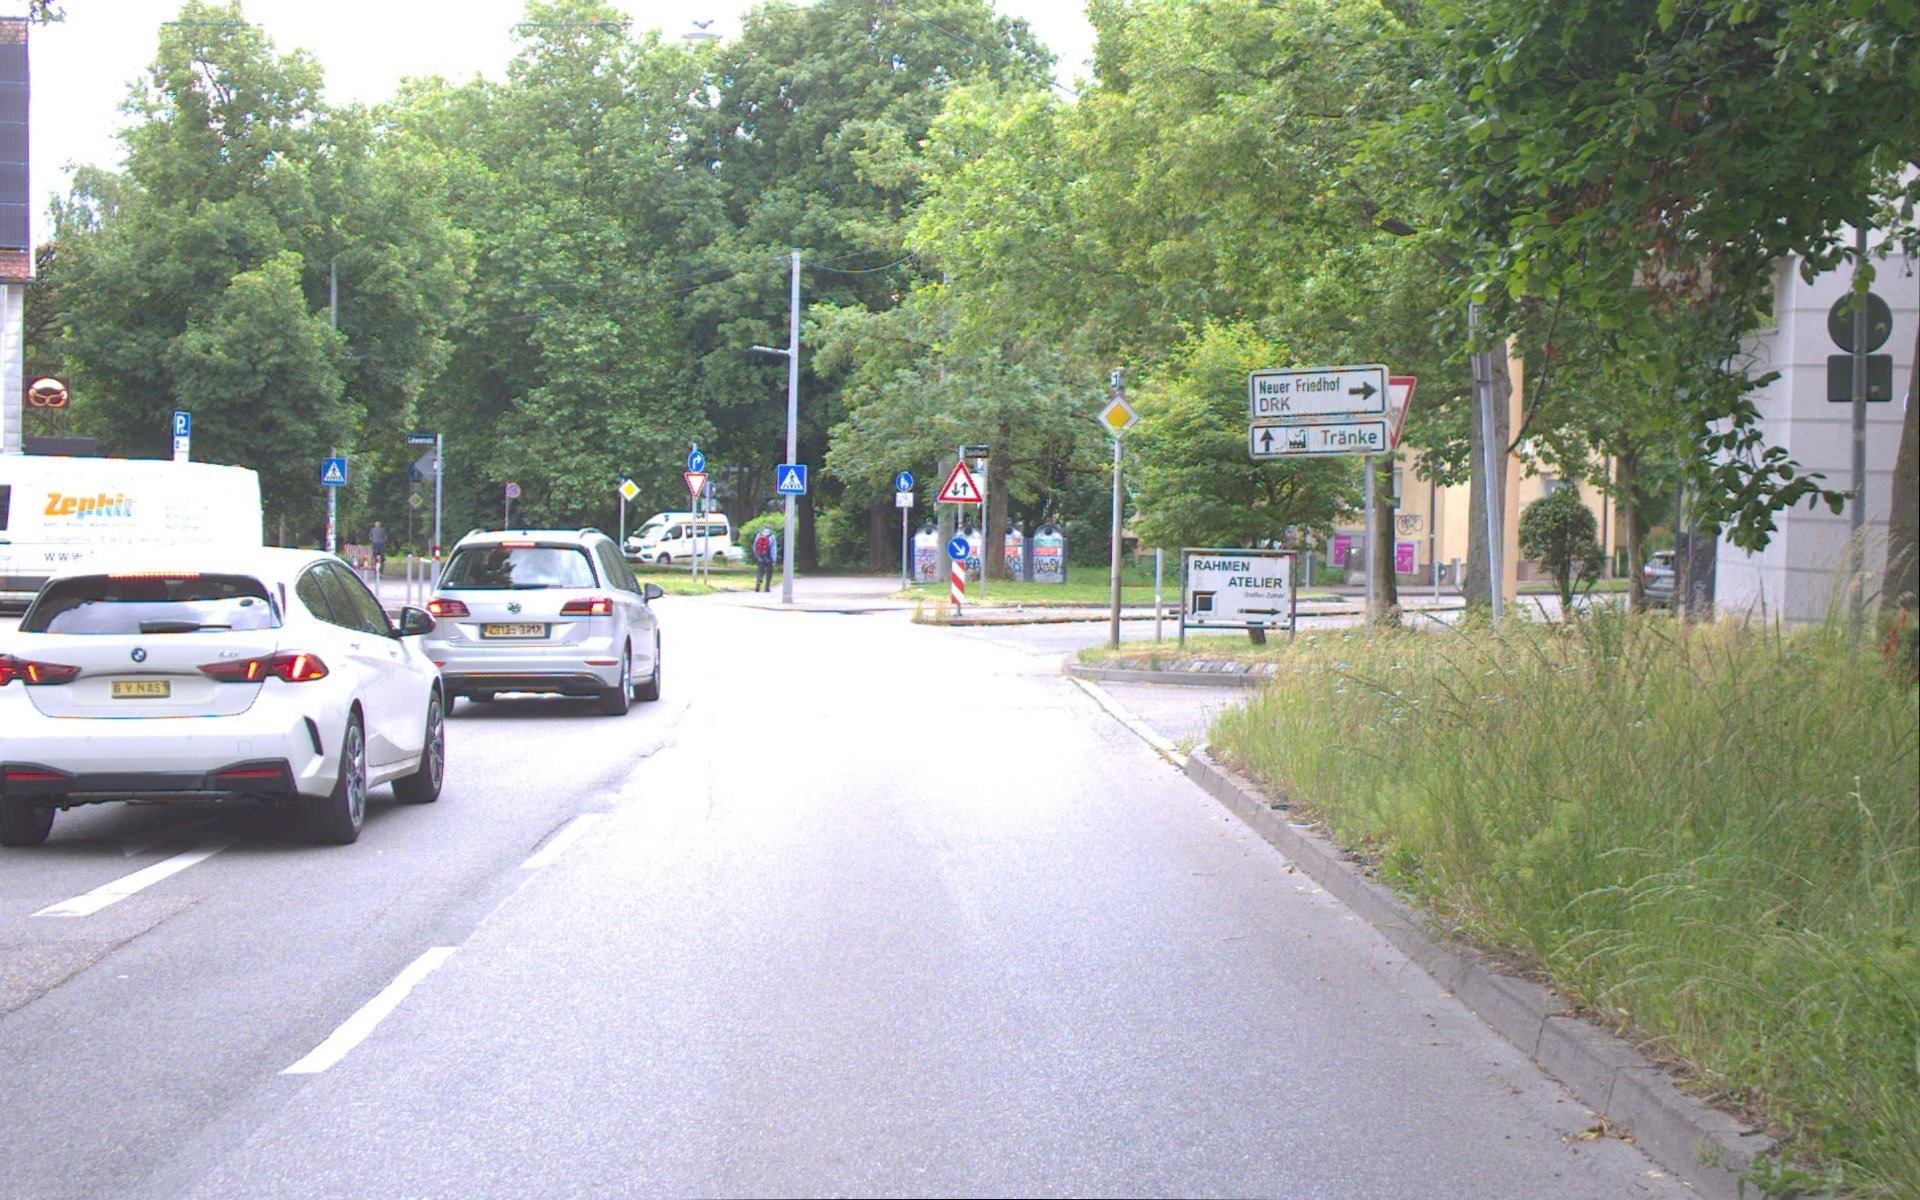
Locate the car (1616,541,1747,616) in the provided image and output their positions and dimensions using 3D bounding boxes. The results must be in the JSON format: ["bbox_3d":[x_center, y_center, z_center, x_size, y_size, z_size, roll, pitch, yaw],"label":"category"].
[{"bbox_3d":[16.670,-0.481,79.326,1.877,1.563,4.013,5,2,27],"label":"car"}]

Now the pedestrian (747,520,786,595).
[{"bbox_3d":[-5.092,-1.124,90.471,0.923,1.865,1.019,-2,4,-5],"label":"pedestrian"}]

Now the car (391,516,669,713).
[{"bbox_3d":[-3.714,0.070,30.331,1.923,1.568,4.000,1,2,0],"label":"car"}]

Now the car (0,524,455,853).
[{"bbox_3d":[-3.877,0.387,18.213,1.795,1.512,4.207,-1,1,-1],"label":"car"}]

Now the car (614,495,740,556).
[{"bbox_3d":[-12.004,-3.150,146.229,2.135,2.289,5.373,5,2,38],"label":"car"}]

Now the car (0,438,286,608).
[{"bbox_3d":[-14.449,-1.262,54.817,6.959,2.513,2.084,1,3,-38],"label":"car"}]
